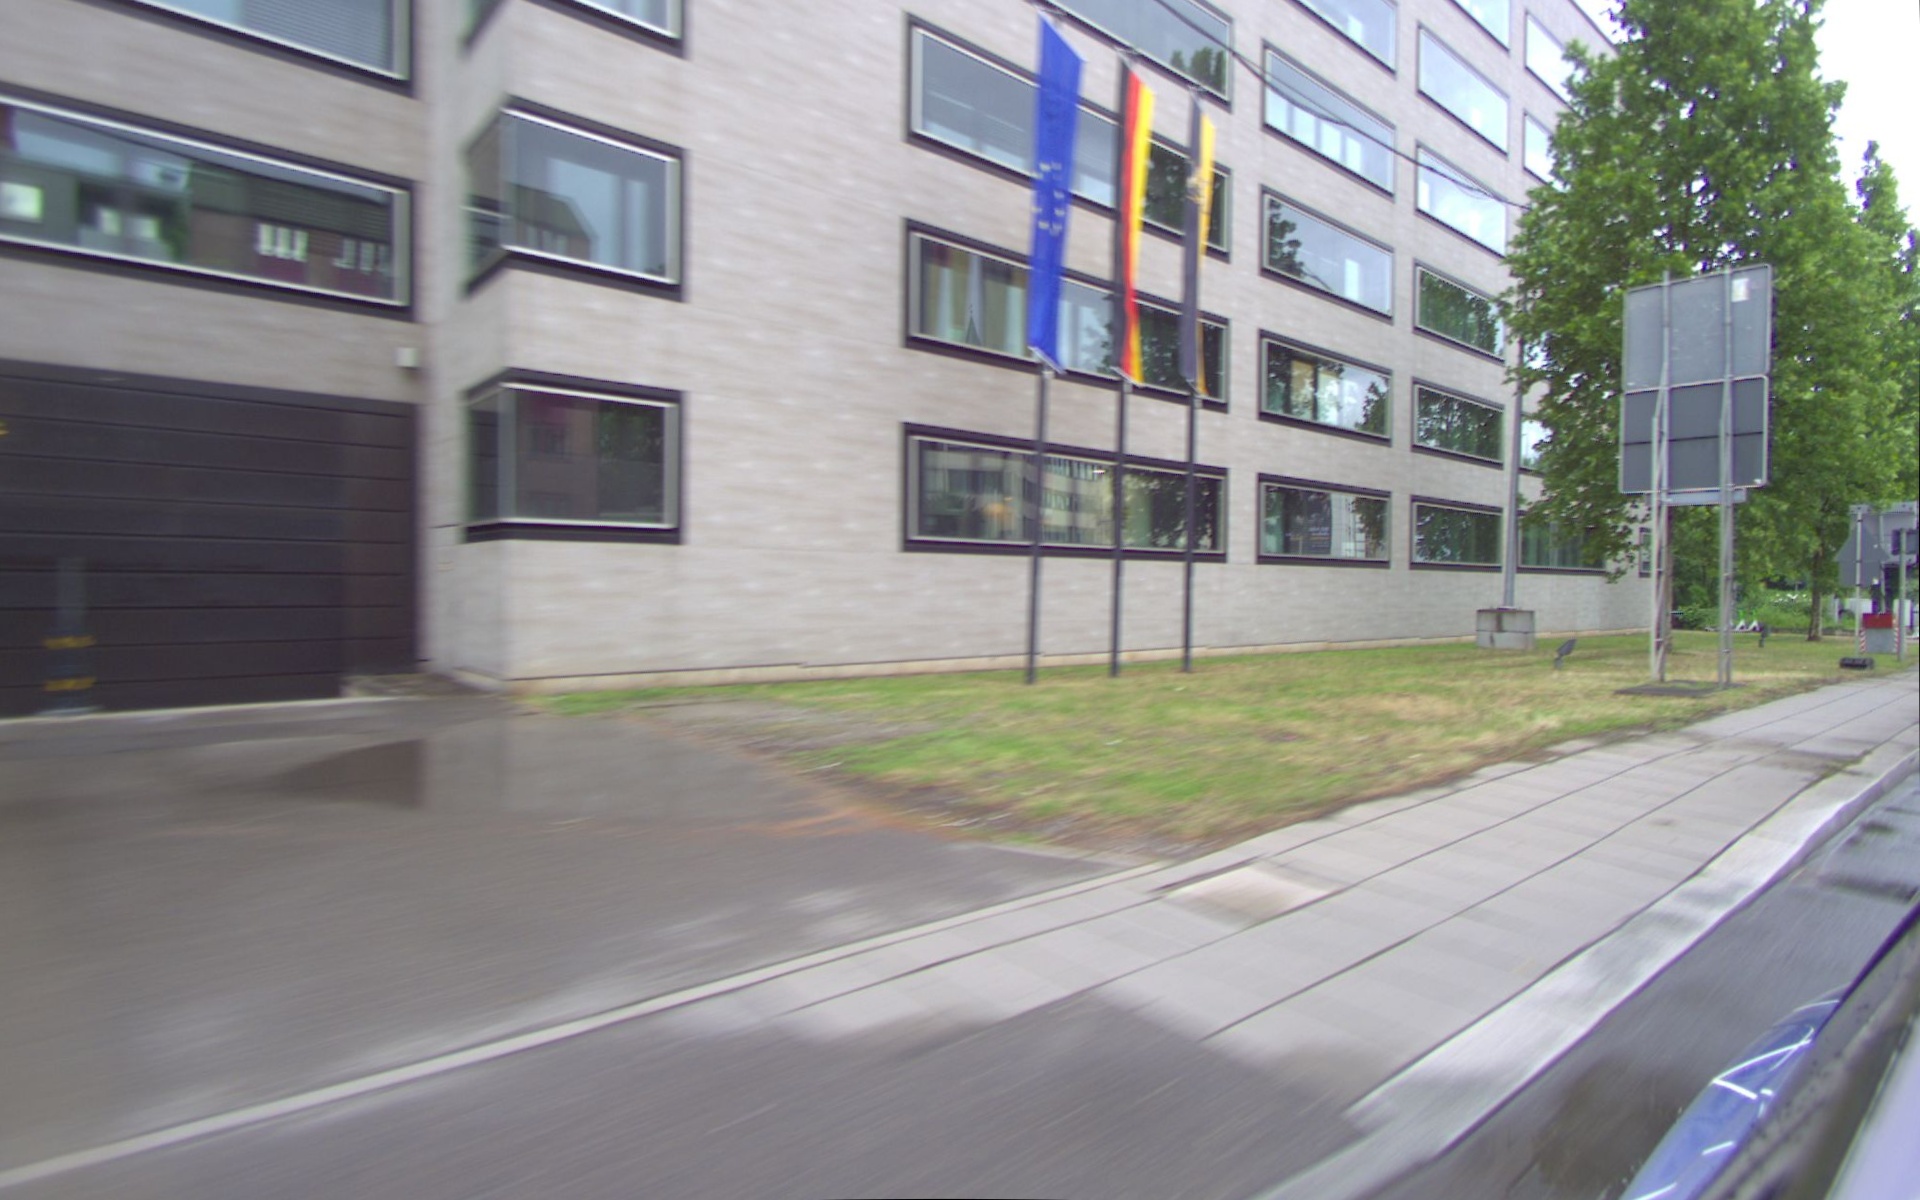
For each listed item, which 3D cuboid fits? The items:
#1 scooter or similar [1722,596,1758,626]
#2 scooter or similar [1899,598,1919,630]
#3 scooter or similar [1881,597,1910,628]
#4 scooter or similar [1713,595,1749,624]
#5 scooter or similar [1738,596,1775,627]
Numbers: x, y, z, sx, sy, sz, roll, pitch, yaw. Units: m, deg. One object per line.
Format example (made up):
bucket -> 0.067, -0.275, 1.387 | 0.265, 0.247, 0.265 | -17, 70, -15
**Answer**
scooter or similar -> 35.444, 0.476, 45.995 | 0.464, 1.329, 1.238 | 0, 1, -43
scooter or similar -> 38.493, 0.564, 40.433 | 1.312, 1.216, 0.690 | 1, 1, -3
scooter or similar -> 37.623, 0.478, 40.704 | 1.300, 1.216, 0.564 | 0, 1, -34
scooter or similar -> 35.540, 0.427, 46.666 | 0.464, 1.329, 1.238 | 0, 1, -43
scooter or similar -> 35.513, 0.488, 45.137 | 0.545, 1.329, 1.238 | 0, 1, -43
